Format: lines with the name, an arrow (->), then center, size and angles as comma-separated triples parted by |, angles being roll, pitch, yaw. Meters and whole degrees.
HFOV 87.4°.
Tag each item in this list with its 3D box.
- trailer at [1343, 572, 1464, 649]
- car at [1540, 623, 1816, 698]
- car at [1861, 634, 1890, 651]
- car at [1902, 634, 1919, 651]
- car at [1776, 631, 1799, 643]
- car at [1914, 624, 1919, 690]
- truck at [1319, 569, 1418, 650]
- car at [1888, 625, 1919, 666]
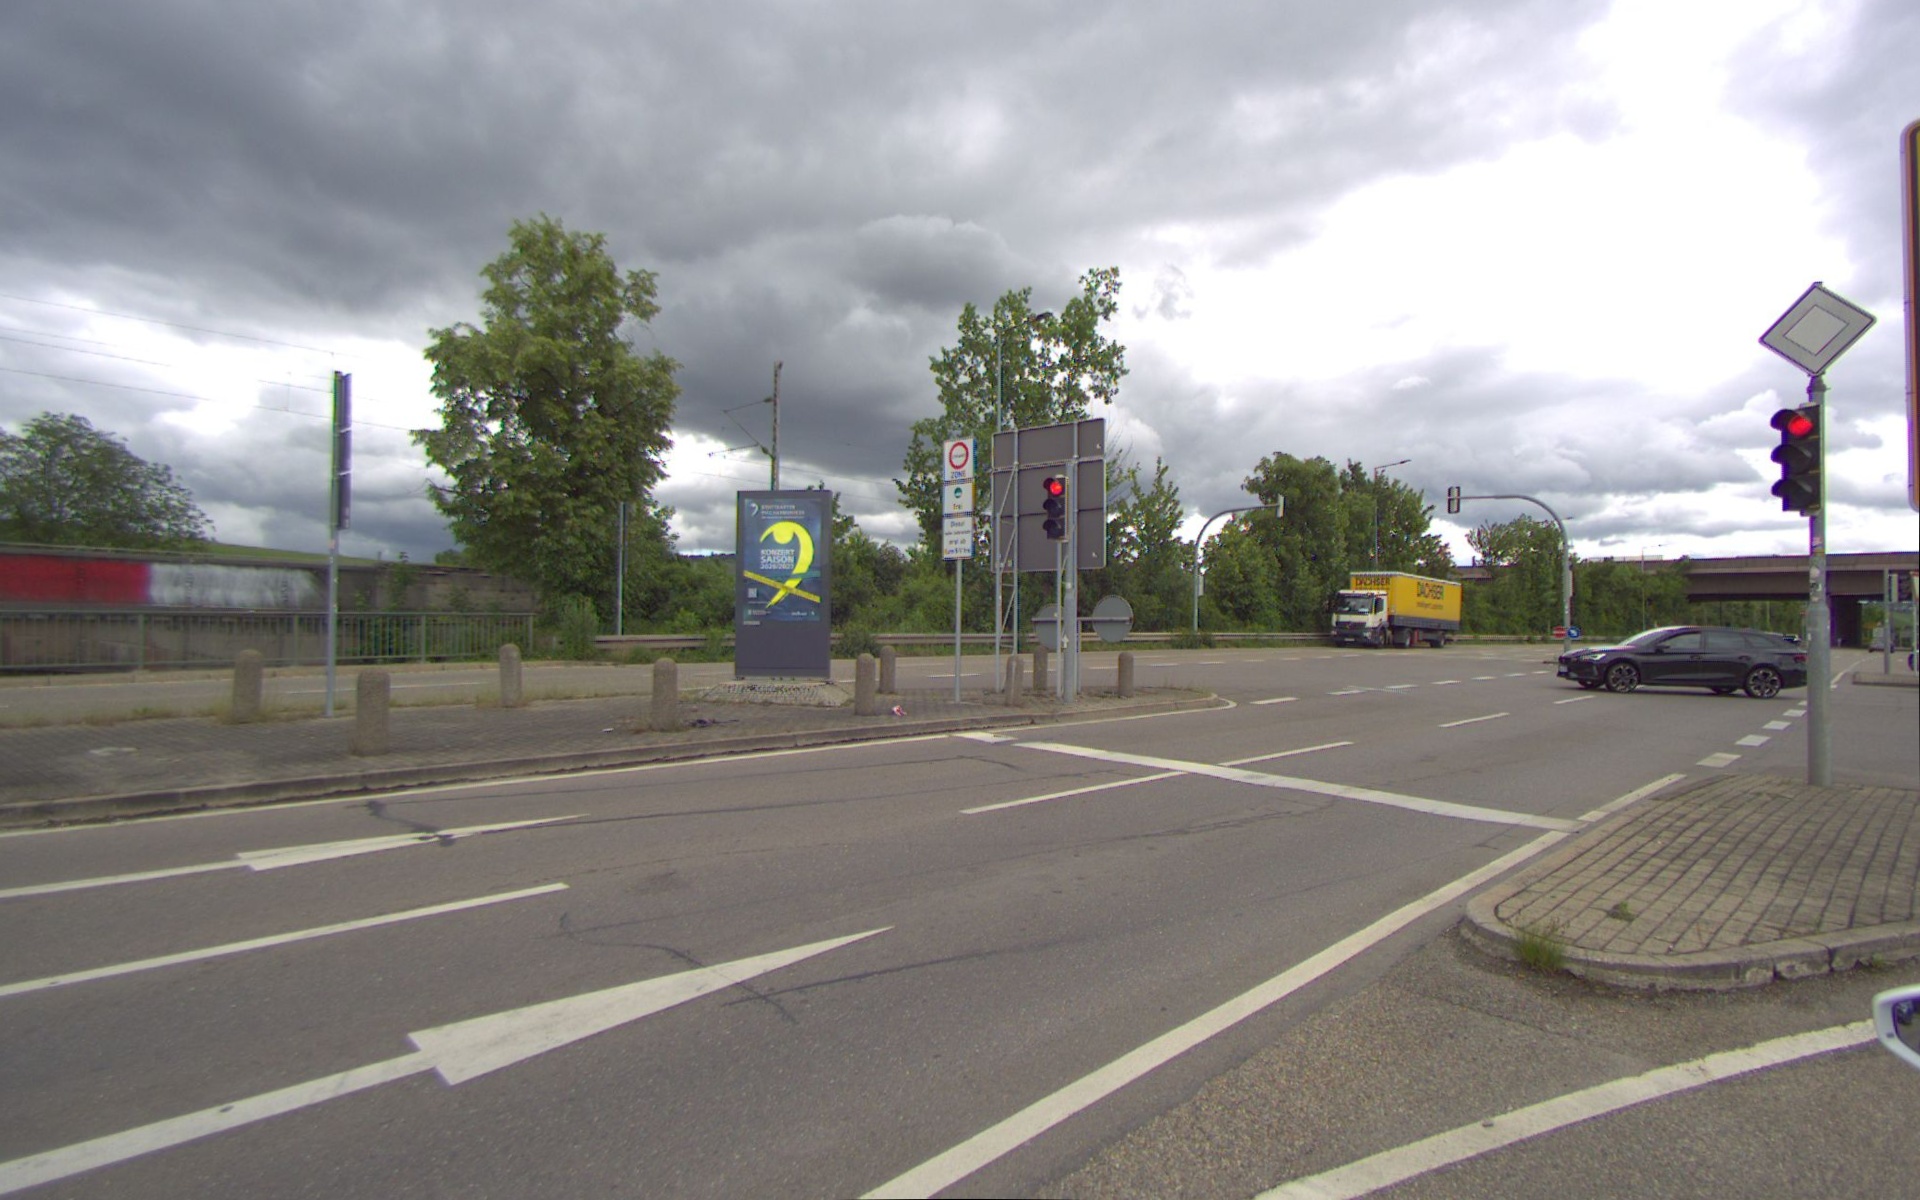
trailer -> 26.452, 0.606, 59.460 | 2.840, 4.139, 11.360 | 3, 1, 43
car -> 15.617, 1.272, 22.125 | 4.527, 1.477, 1.957 | 0, 0, 13
car -> 89.387, 4.160, 98.051 | 1.973, 1.461, 4.086 | 1, -2, 44
car -> 93.135, 4.140, 97.855 | 1.972, 1.483, 4.087 | 1, -2, 43
car -> 120.703, 5.404, 146.496 | 3.836, 1.402, 1.846 | -1, 3, -40
car -> 25.443, 1.408, 23.295 | 4.620, 1.592, 1.948 | 0, 0, 38
truck -> 22.559, 0.515, 55.338 | 2.841, 4.139, 6.449 | 3, 1, 43
car -> 41.756, 2.033, 42.420 | 1.877, 1.684, 4.747 | 3, 2, 18
